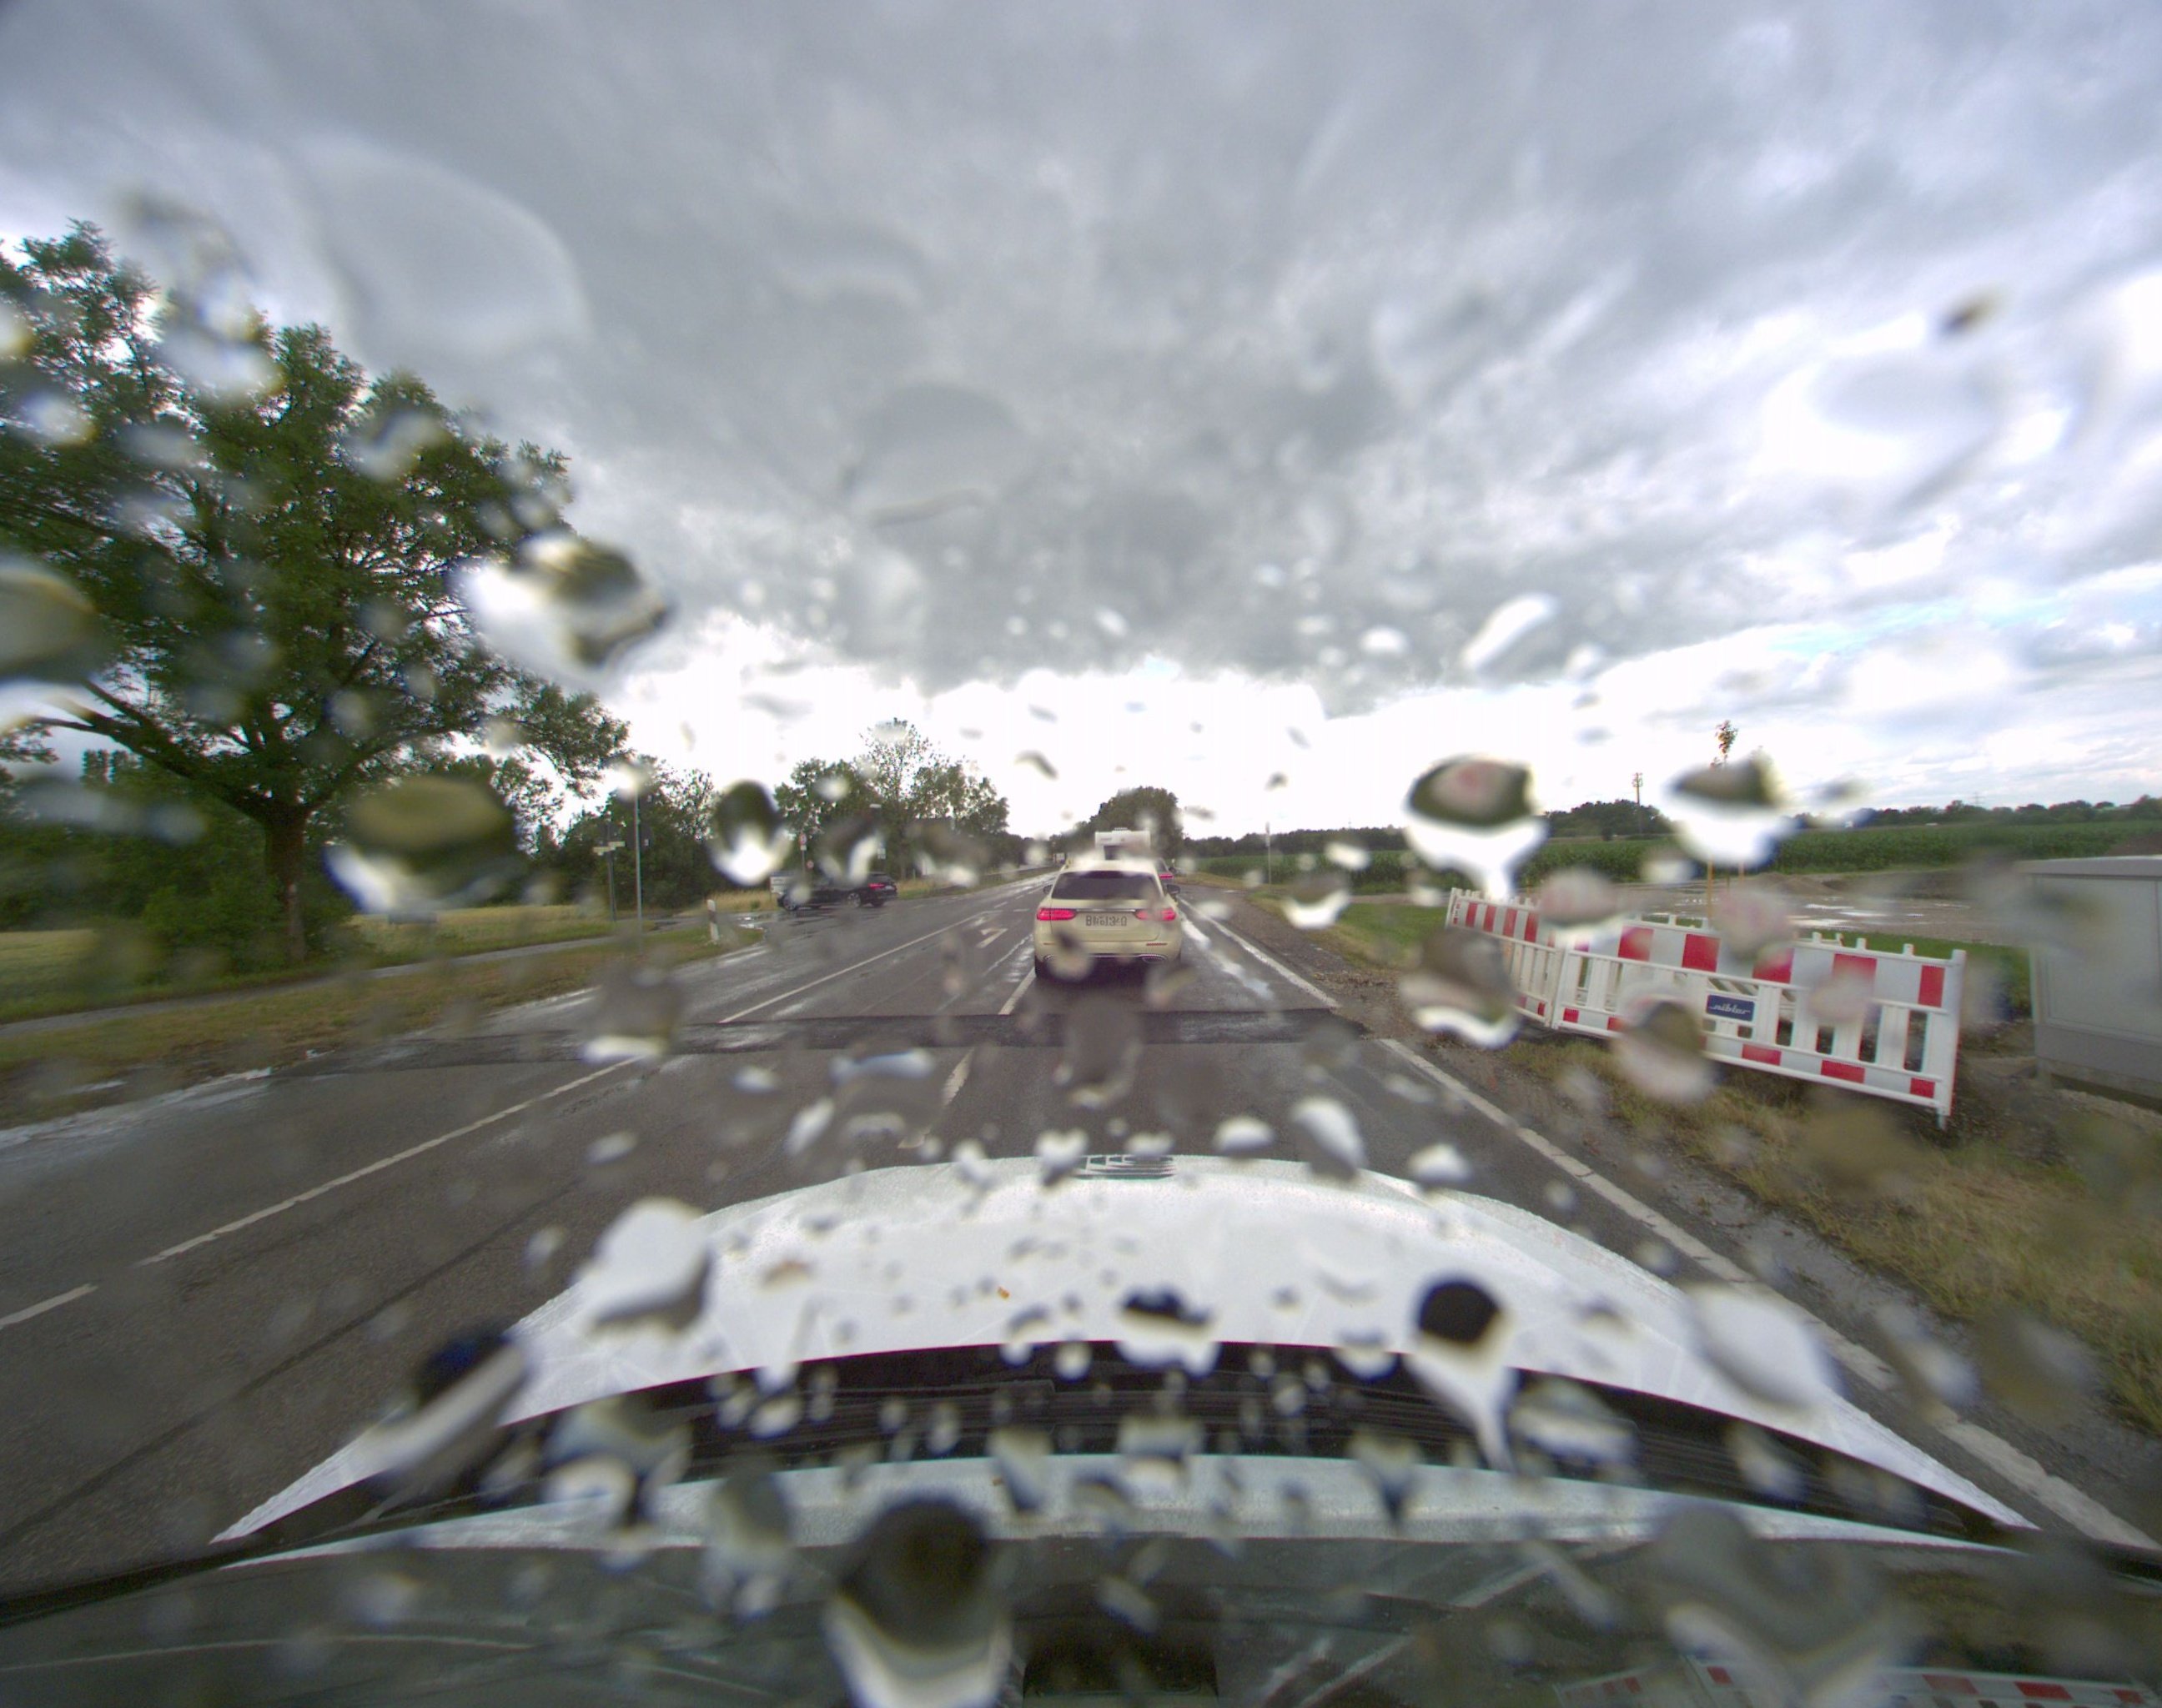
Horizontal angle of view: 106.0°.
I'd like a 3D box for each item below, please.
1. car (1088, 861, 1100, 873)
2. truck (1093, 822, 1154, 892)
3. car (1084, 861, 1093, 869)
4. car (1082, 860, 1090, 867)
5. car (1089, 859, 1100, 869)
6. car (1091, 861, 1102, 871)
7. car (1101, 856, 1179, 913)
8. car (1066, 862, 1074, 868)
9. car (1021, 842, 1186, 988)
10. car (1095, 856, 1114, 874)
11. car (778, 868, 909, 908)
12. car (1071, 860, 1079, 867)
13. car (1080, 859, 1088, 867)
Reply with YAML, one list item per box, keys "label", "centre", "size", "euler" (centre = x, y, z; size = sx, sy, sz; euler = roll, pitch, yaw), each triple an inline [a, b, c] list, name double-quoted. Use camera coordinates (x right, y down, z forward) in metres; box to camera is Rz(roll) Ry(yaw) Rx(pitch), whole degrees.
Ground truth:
- label: "car"
  centre: [2.129, 2.144, 133.445]
  size: [1.784, 1.777, 3.722]
  euler: [-2, -1, 2]
- label: "truck"
  centre: [1.842, 0.143, 36.678]
  size: [2.354, 2.729, 7.317]
  euler: [-2, 0, 2]
- label: "car"
  centre: [1.729, 2.530, 188.407]
  size: [1.733, 1.860, 3.786]
  euler: [-2, 0, 2]
- label: "car"
  centre: [1.237, 2.262, 202.911]
  size: [1.743, 1.662, 3.671]
  euler: [-2, 0, -1]
- label: "car"
  centre: [2.560, 1.773, 150.127]
  size: [1.872, 1.761, 3.835]
  euler: [-2, 0, 2]
- label: "car"
  centre: [3.151, 2.369, 162.304]
  size: [1.986, 1.772, 4.001]
  euler: [-2, 0, 2]
- label: "car"
  centre: [1.577, 0.797, 22.950]
  size: [1.986, 1.462, 4.001]
  euler: [0, -1, 2]
- label: "car"
  centre: [-2.865, 2.759, 205.815]
  size: [1.821, 1.574, 4.002]
  euler: [0, -1, 2]
- label: "car"
  centre: [0.318, 0.707, 11.228]
  size: [1.836, 1.618, 4.001]
  euler: [-1, -1, 2]
- label: "car"
  centre: [2.533, 1.186, 88.282]
  size: [1.908, 1.841, 3.797]
  euler: [-2, 0, 2]
- label: "car"
  centre: [-9.670, 1.369, 33.343]
  size: [4.584, 1.547, 2.318]
  euler: [0, -1, 14]
- label: "car"
  centre: [-1.785, 2.751, 241.951]
  size: [1.888, 1.839, 3.883]
  euler: [-2, -1, 2]
- label: "car"
  centre: [0.715, 2.377, 213.602]
  size: [1.890, 1.895, 3.841]
  euler: [-2, -1, -1]
